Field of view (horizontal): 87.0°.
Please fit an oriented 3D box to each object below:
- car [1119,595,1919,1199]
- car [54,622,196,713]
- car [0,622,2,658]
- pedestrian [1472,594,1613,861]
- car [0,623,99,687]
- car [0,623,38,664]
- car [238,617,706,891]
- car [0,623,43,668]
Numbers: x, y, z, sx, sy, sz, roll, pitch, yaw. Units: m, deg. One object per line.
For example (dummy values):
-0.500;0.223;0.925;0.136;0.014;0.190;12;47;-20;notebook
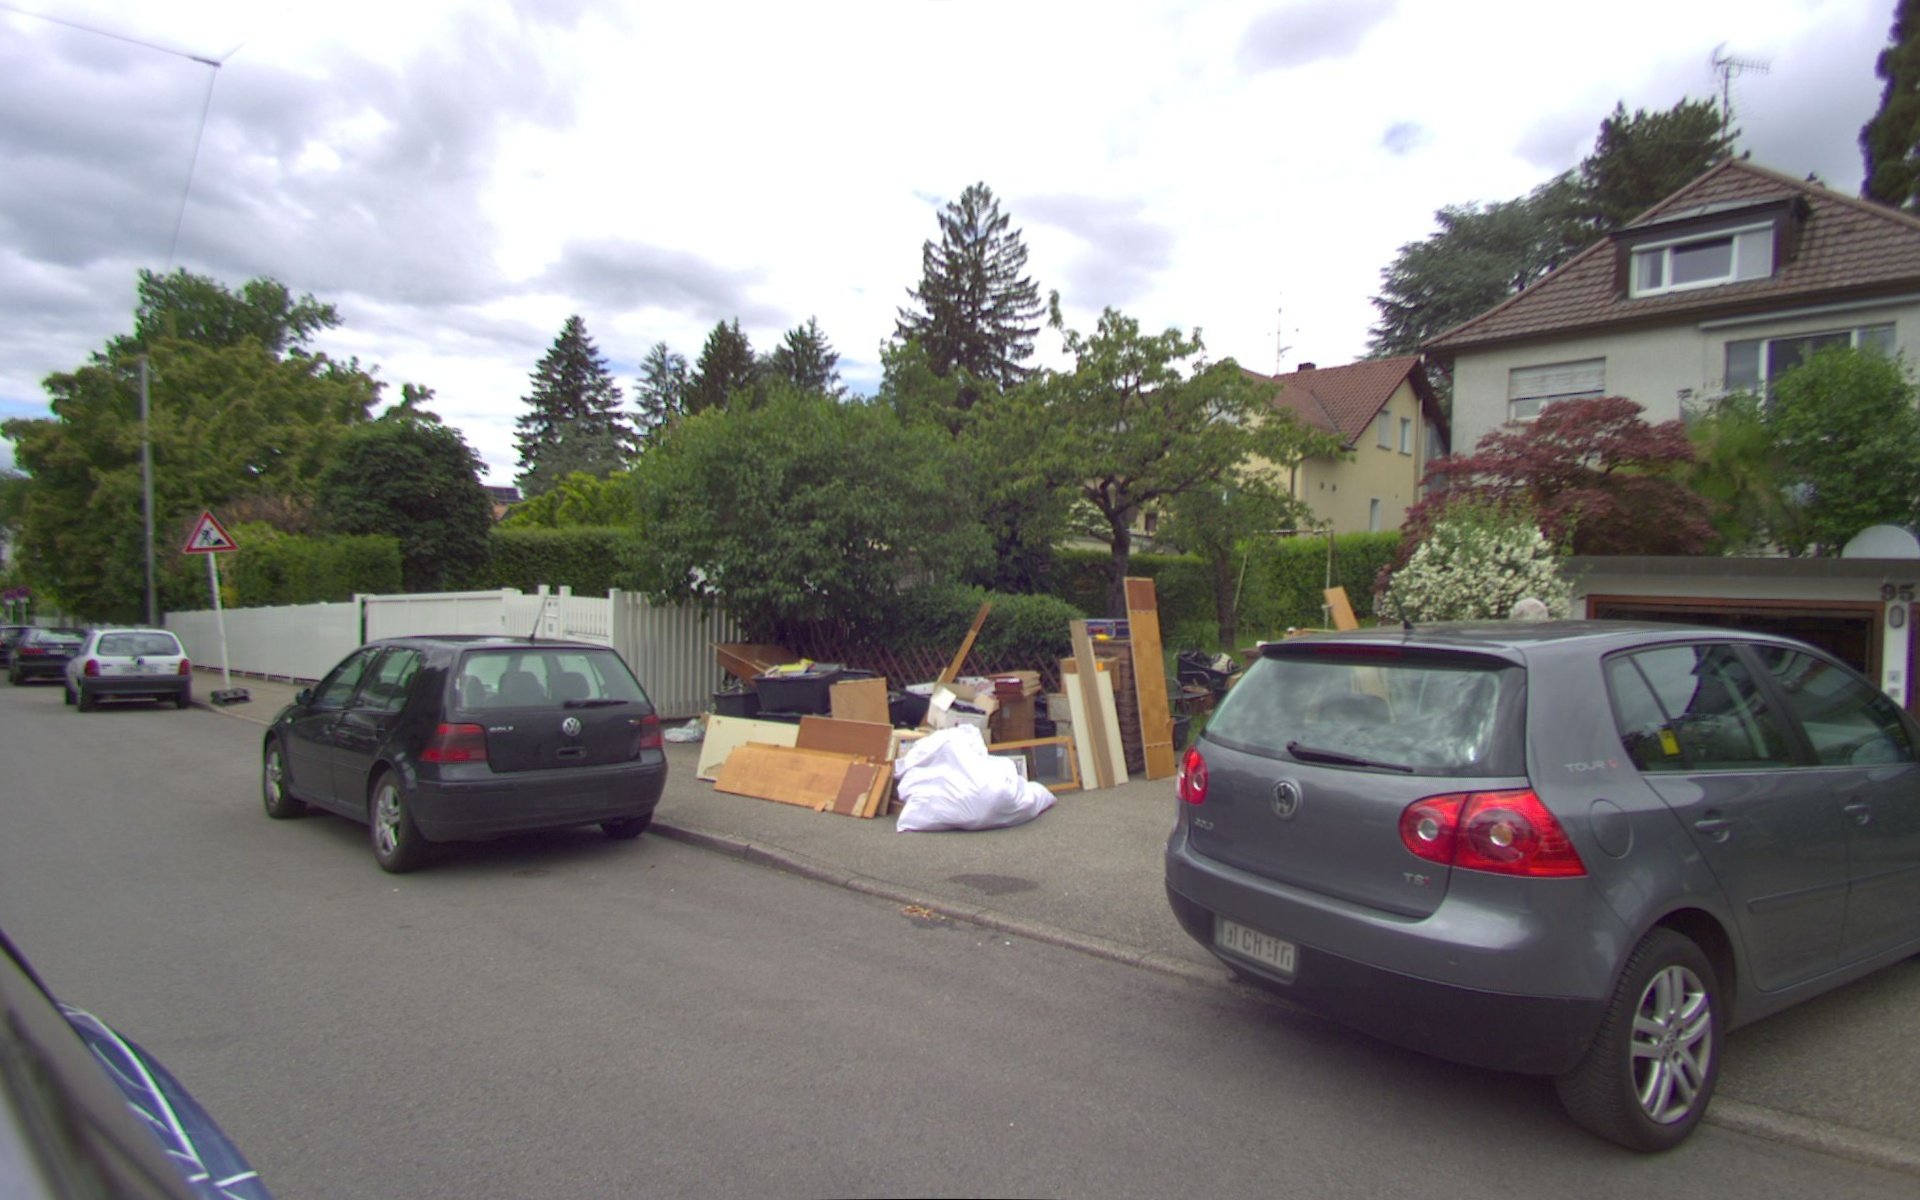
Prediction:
2.764;0.753;4.019;3.931;1.473;1.743;-1;0;-28;car
-15.297;1.169;18.486;3.314;1.480;1.598;-1;-3;44;car
-49.167;1.991;50.356;3.701;1.769;1.863;-1;0;41;car
4.205;0.868;7.323;0.635;1.818;0.615;-1;0;-27;pedestrian
-22.940;1.343;25.441;3.314;1.480;1.598;-1;-3;44;car
-36.297;1.636;38.463;3.314;1.480;1.598;-1;-3;44;car
-3.673;0.879;7.333;3.802;1.455;1.735;-1;-3;42;car
-32.966;1.592;35.047;3.313;1.480;1.517;-3;-5;44;car
